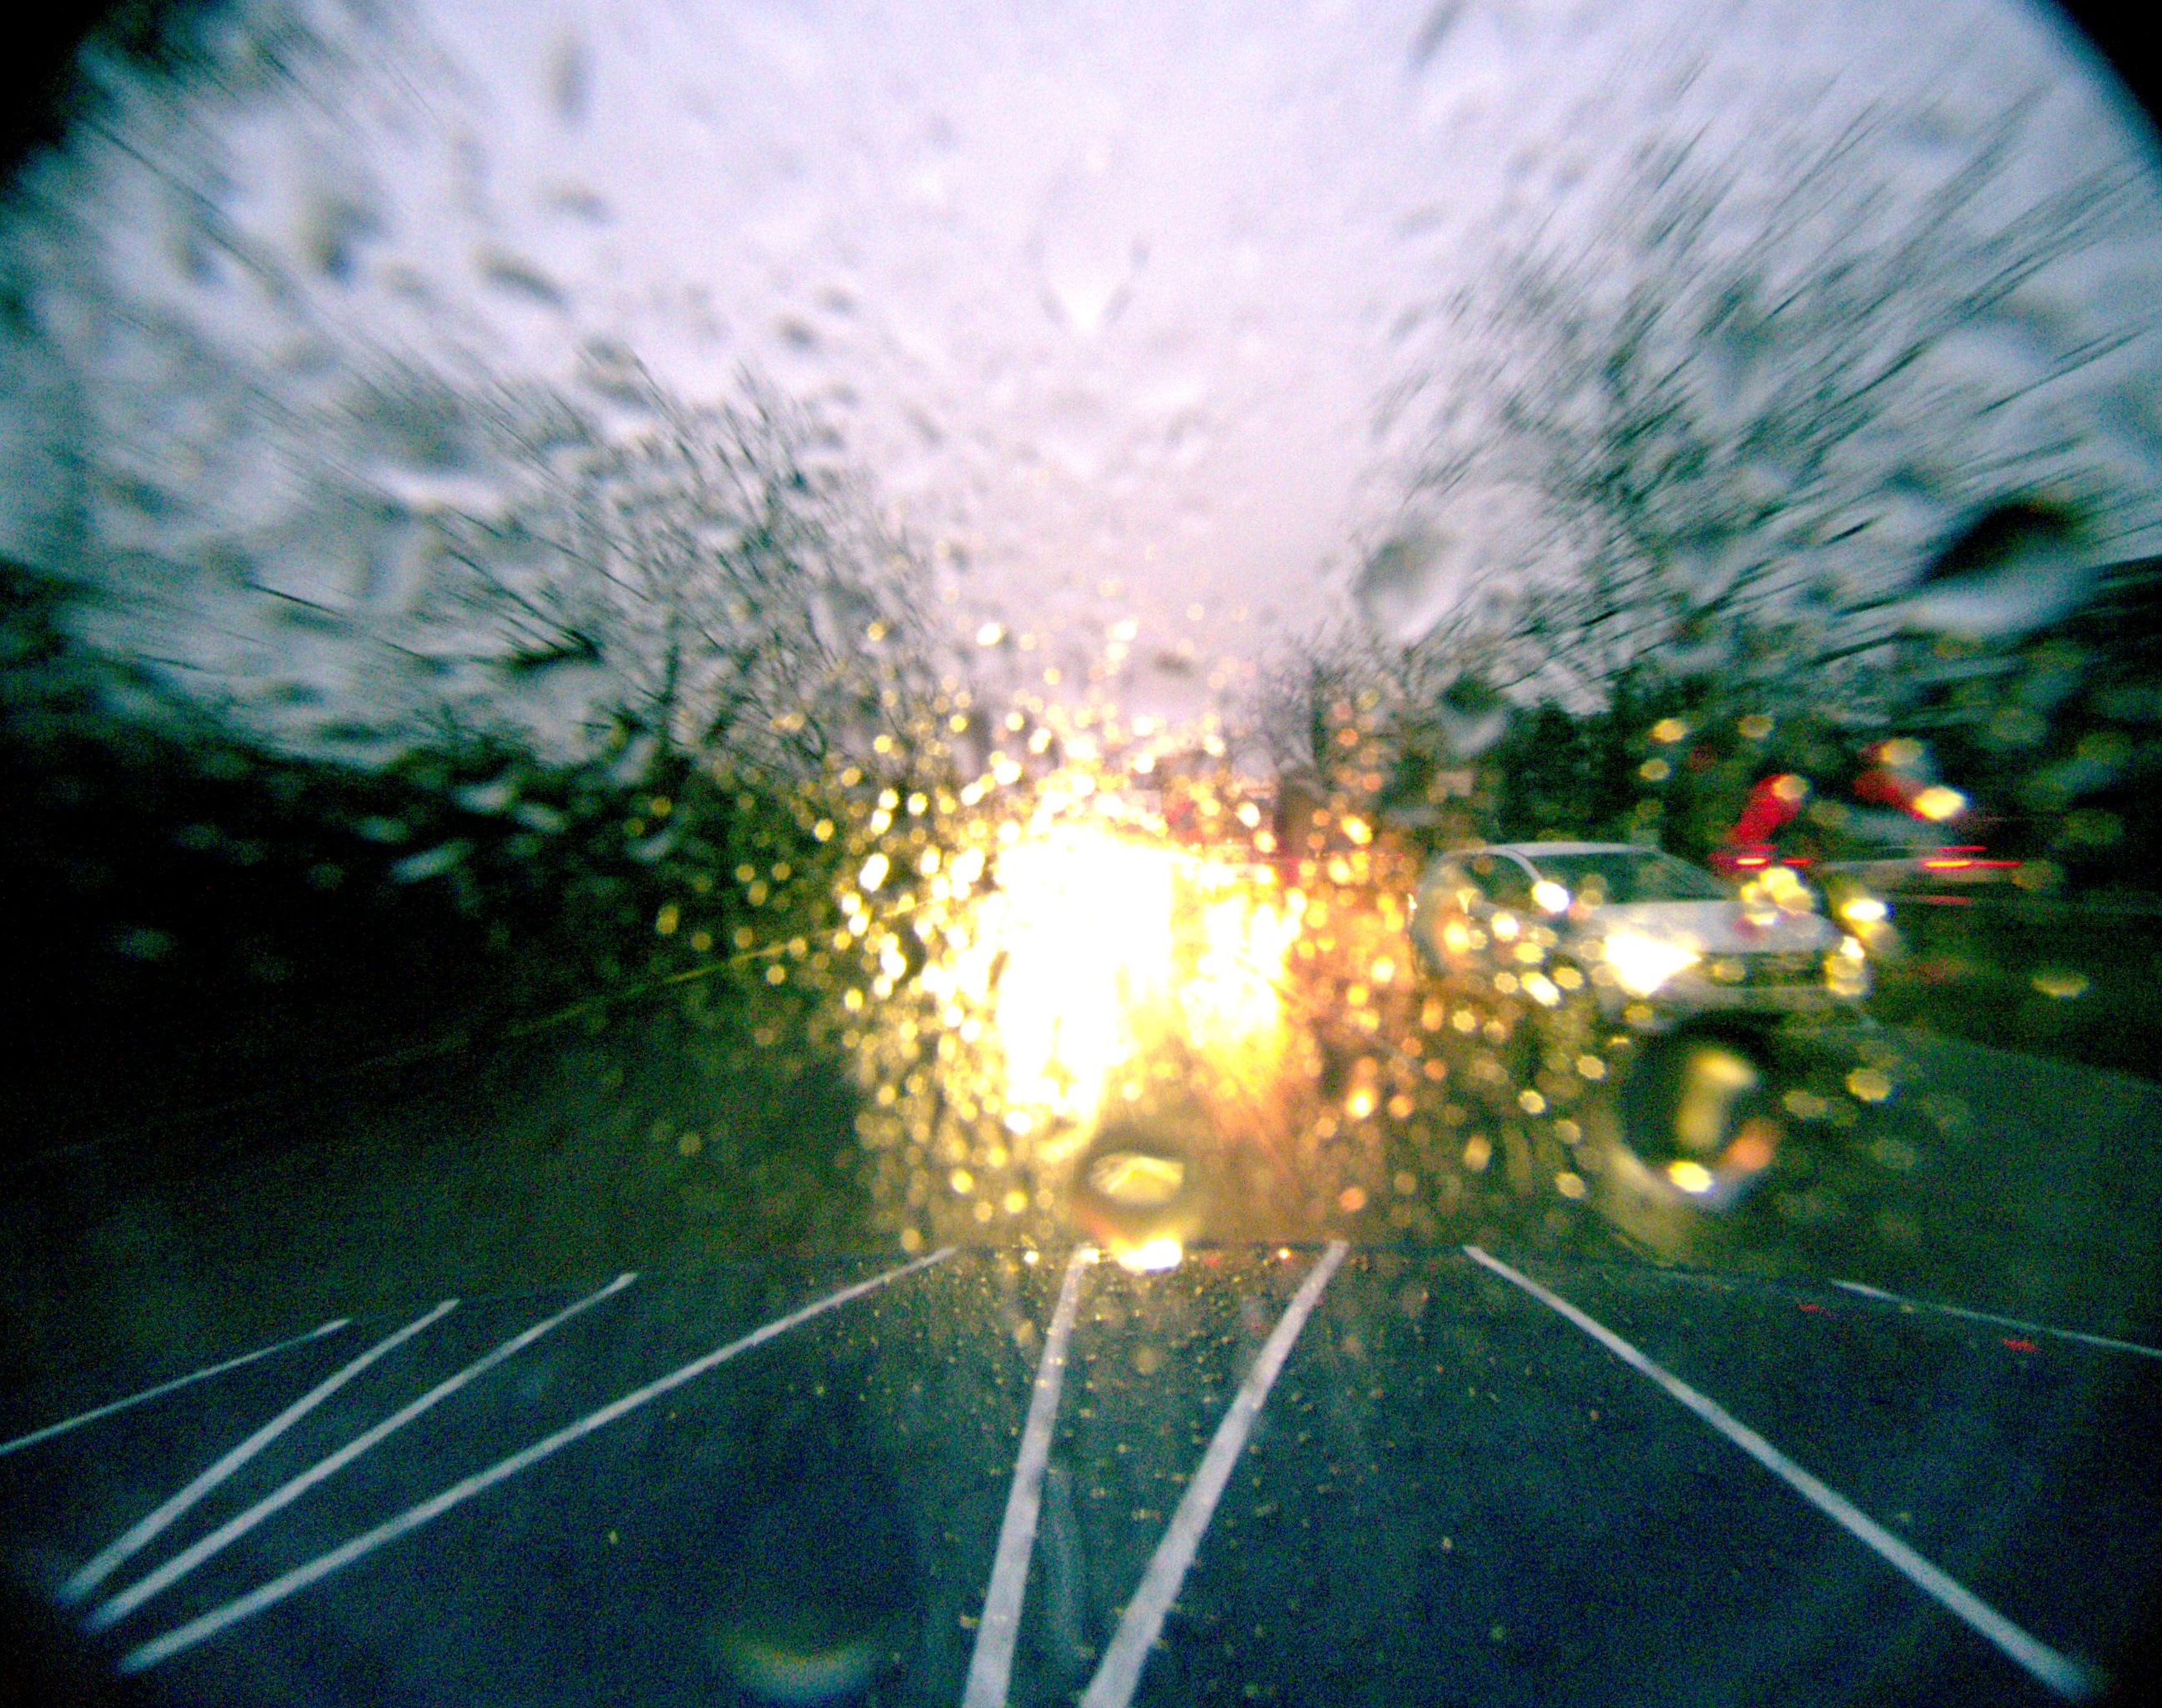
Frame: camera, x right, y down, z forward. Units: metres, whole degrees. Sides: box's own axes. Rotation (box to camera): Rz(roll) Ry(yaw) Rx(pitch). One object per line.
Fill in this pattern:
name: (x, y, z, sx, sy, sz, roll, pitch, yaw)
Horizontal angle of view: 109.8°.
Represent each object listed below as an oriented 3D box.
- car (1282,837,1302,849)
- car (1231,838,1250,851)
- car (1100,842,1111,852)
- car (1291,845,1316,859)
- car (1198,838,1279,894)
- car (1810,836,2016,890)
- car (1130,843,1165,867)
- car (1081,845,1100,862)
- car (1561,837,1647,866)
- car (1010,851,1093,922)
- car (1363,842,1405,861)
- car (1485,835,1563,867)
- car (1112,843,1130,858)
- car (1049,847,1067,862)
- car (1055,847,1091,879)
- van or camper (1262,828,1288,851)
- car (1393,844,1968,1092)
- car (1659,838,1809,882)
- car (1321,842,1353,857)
car: (26.968, -1.453, 97.414, 1.573, 1.397, 4.000, -2, 1, 2)
car: (20.080, -1.203, 95.942, 1.573, 1.495, 3.999, -2, 1, 1)
car: (4.615, -1.330, 143.275, 1.852, 1.610, 3.950, -2, 1, 0)
car: (22.777, -0.206, 77.895, 1.541, 1.285, 3.999, -1, 1, 1)
car: (4.869, 0.315, 24.077, 1.765, 1.590, 4.164, -1, 1, 1)
car: (25.366, 0.222, 23.432, 1.722, 1.480, 4.271, -1, 1, 1)
car: (4.437, 0.041, 51.268, 2.027, 1.522, 4.145, -1, 1, 0)
car: (0.966, -0.062, 78.673, 1.852, 1.610, 3.950, -2, 1, 0)
car: (25.615, -0.142, 37.355, 1.653, 1.346, 3.704, -1, 1, -1)
car: (-0.623, 0.718, 18.978, 1.830, 1.524, 3.999, -1, 1, 1)
car: (22.240, -0.201, 55.925, 1.541, 1.320, 3.956, -1, 1, 1)
car: (22.201, -0.189, 38.244, 1.653, 1.491, 3.956, -1, 1, 1)
car: (4.615, -0.441, 88.288, 1.852, 1.610, 3.950, -2, 1, 0)
car: (-2.639, 0.052, 87.435, 1.852, 1.610, 3.950, -2, 1, 0)
car: (-0.377, 0.427, 39.916, 1.728, 1.573, 3.790, -1, 1, 1)
van or camper: (23.195, -1.756, 91.146, 1.967, 2.594, 4.738, -1, 1, 1)
car: (4.416, 0.658, 6.623, 1.728, 1.432, 4.225, -1, 1, 1)
car: (21.589, 0.152, 25.334, 1.653, 1.346, 3.956, -1, 1, 1)
car: (22.572, -0.402, 67.202, 1.541, 1.304, 3.999, -1, 1, 1)
